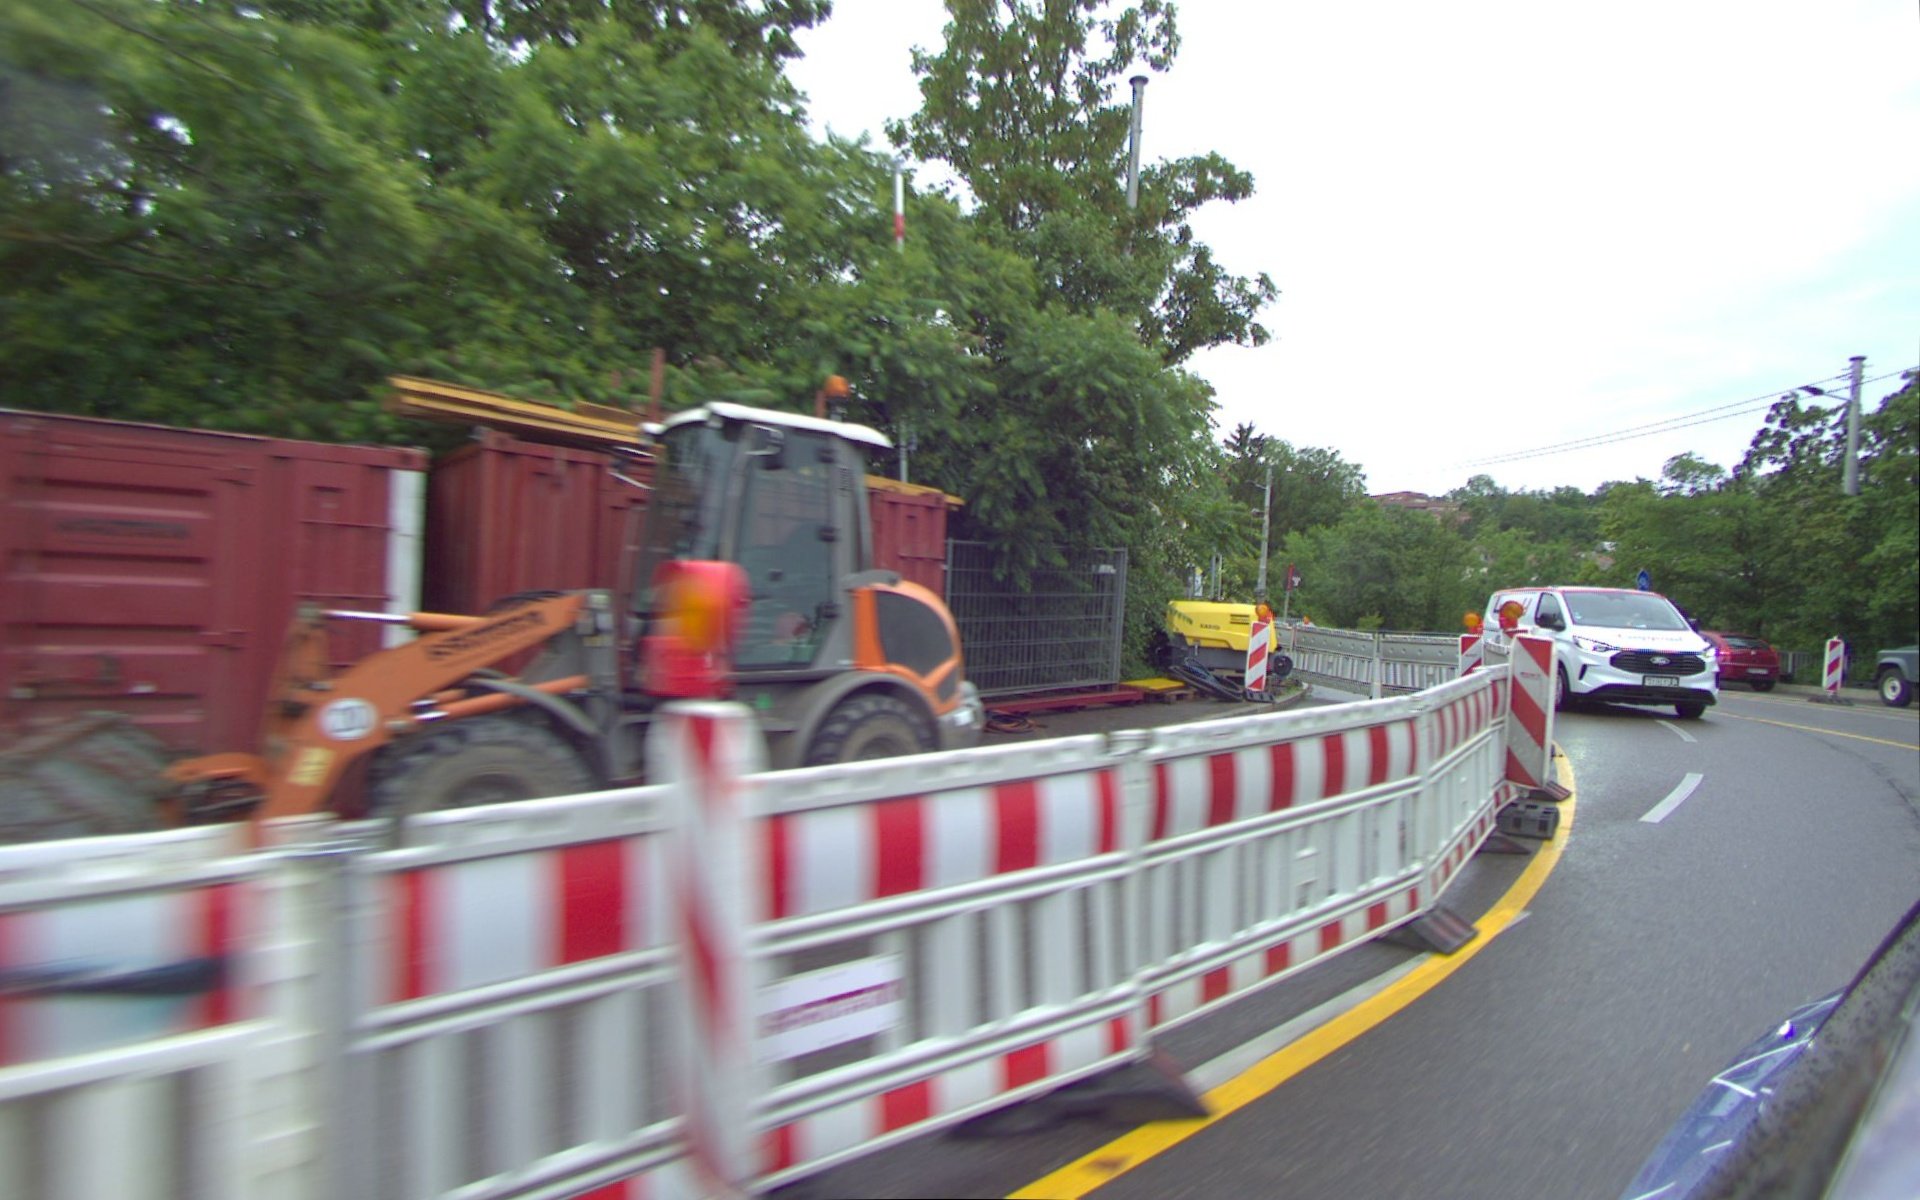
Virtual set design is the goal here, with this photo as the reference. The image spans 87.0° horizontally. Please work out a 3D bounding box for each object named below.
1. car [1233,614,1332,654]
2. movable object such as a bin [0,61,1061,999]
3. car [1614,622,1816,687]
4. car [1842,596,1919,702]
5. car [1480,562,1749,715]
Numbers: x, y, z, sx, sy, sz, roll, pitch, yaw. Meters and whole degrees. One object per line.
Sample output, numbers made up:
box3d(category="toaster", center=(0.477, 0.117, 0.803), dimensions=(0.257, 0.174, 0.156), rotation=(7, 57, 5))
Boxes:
box3d(category="car", center=(14.184, 1.482, 44.758), dimensions=(1.656, 1.415, 4.143), rotation=(5, -1, -27))
box3d(category="movable object such as a bin", center=(-2.119, -0.012, 5.810), dimensions=(5.184, 3.269, 2.081), rotation=(7, -5, -37))
box3d(category="car", center=(19.864, 1.378, 26.904), dimensions=(1.928, 1.458, 4.324), rotation=(3, -1, -3))
box3d(category="car", center=(19.449, 0.966, 19.095), dimensions=(1.840, 2.039, 4.802), rotation=(2, -1, 7))
box3d(category="car", center=(10.424, 0.578, 16.652), dimensions=(1.969, 2.039, 4.930), rotation=(3, -1, 12))
